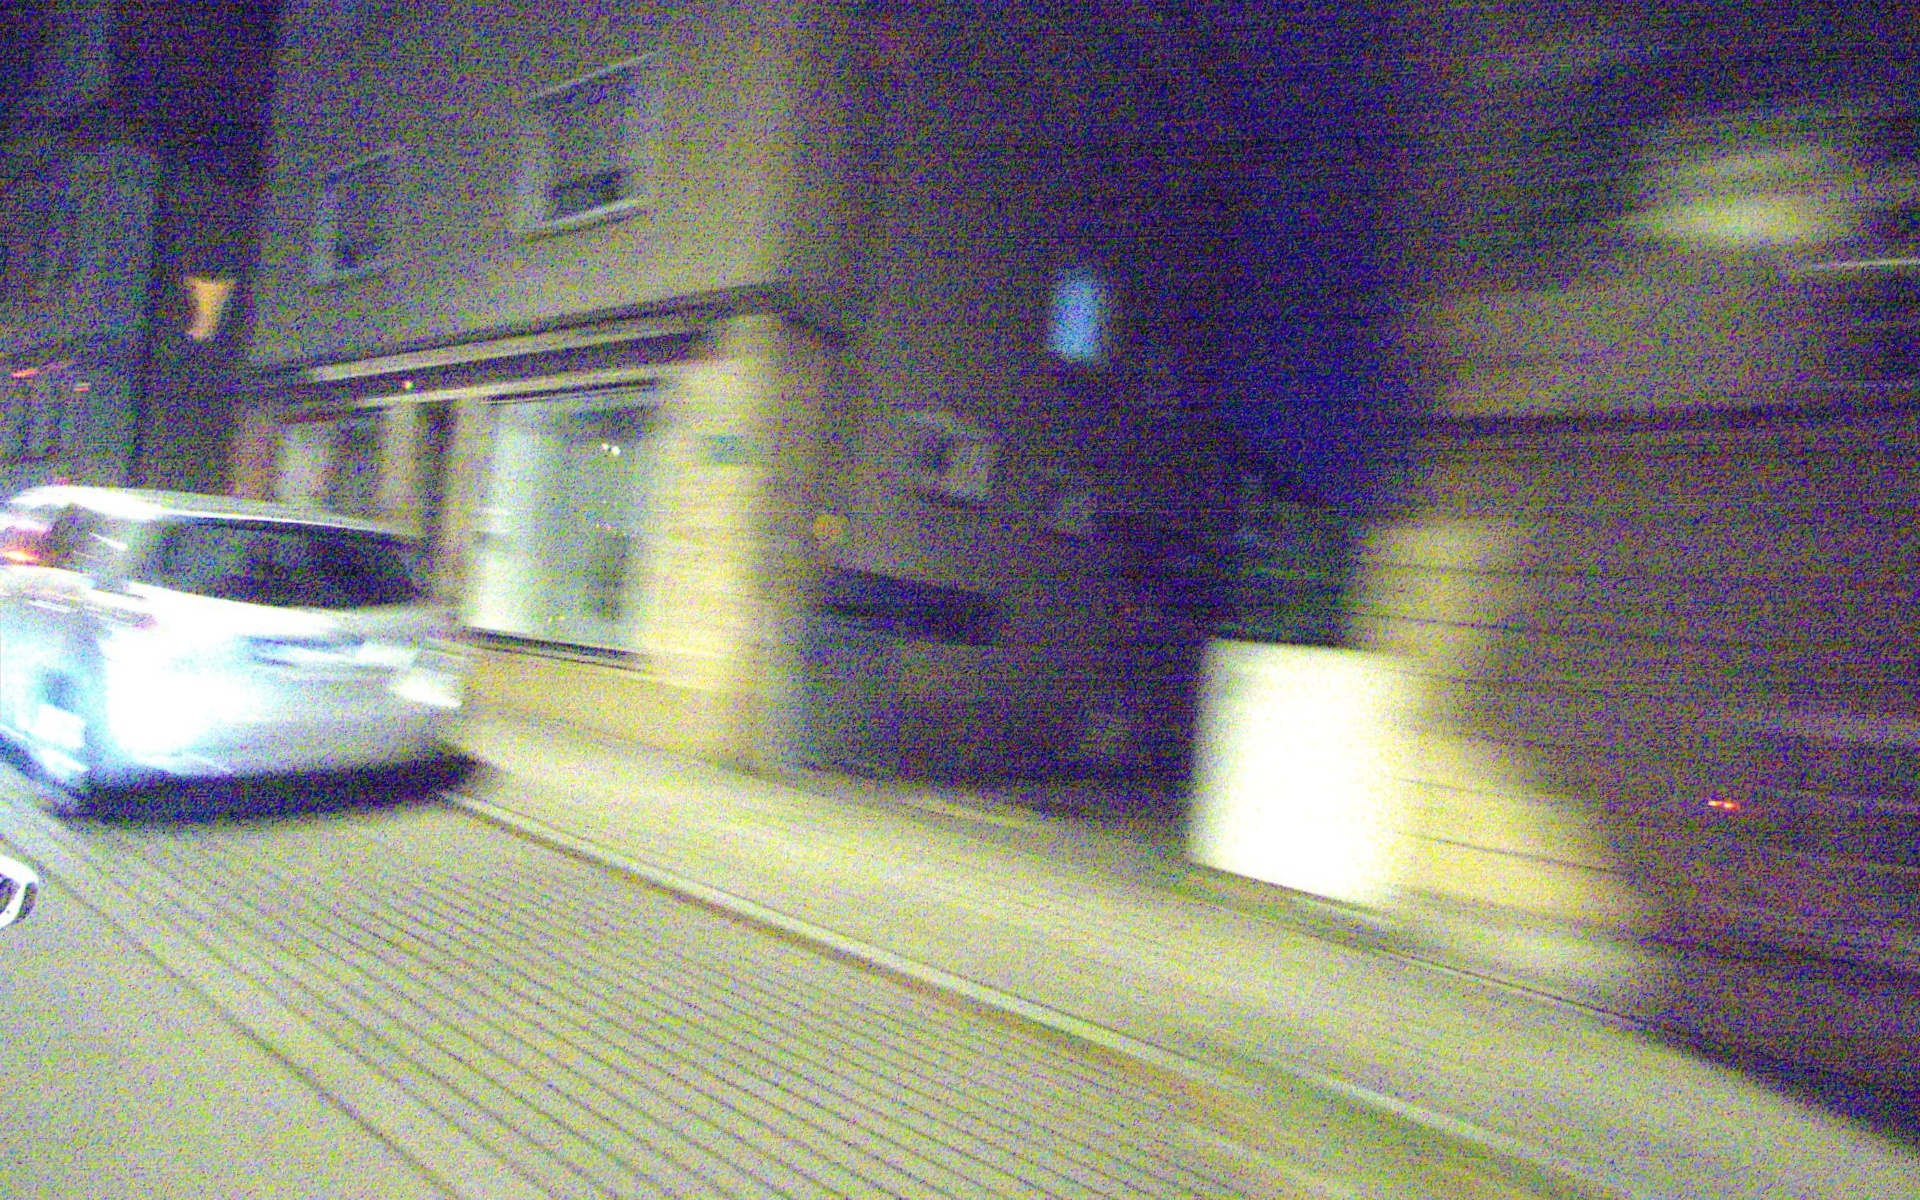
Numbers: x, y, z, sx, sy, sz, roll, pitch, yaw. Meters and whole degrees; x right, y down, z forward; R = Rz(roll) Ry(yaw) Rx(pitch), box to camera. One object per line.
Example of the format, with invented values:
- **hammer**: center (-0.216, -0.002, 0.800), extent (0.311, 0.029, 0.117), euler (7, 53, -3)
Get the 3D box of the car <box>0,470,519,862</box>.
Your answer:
- **car**: center (-4.838, 0.149, 6.178), extent (4.204, 1.614, 1.813), euler (7, 1, 33)
